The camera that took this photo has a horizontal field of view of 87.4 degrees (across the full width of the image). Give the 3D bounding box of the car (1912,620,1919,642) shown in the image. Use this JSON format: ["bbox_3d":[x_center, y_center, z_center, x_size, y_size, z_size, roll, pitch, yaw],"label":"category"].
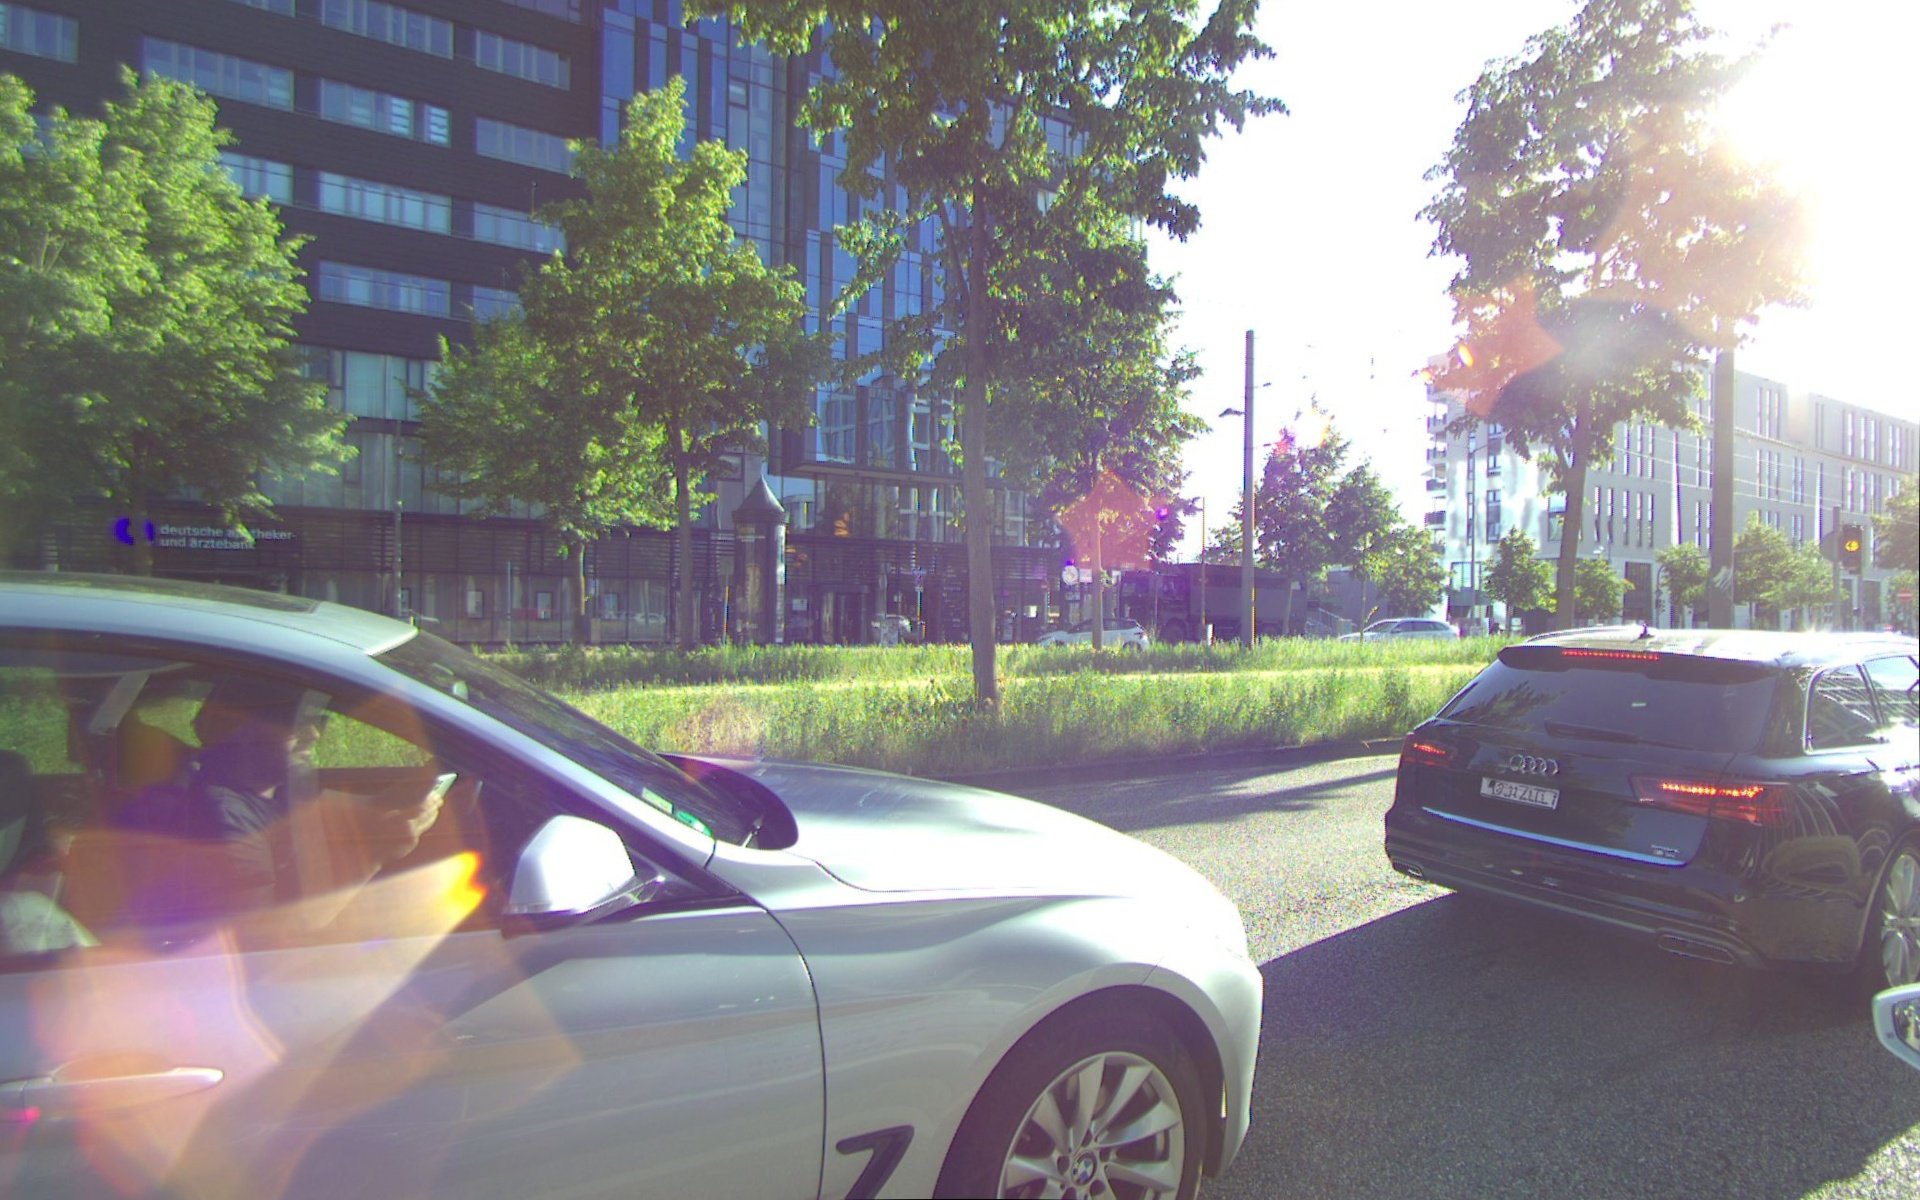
[{"bbox_3d":[90.290,2.872,93.130,3.953,2.040,1.984,1,-1,-30],"label":"car"}]

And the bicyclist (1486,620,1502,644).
[{"bbox_3d":[32.544,1.937,61.208,0.811,1.443,0.475,1,-1,-30],"label":"bicyclist"}]

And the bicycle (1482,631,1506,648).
[{"bbox_3d":[32.524,2.397,61.189,1.735,1.049,0.475,1,-1,-31],"label":"bicycle"}]

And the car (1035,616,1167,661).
[{"bbox_3d":[4.923,1.322,35.290,4.476,1.467,1.806,1,-1,7],"label":"car"}]

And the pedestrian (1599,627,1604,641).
[{"bbox_3d":[50.842,2.724,79.620,0.257,1.100,0.252,1,0,-30],"label":"pedestrian"}]

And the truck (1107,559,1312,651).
[{"bbox_3d":[11.691,0.299,46.484,10.094,3.904,2.877,1,-1,-31],"label":"truck"}]

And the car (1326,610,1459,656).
[{"bbox_3d":[15.151,1.150,35.257,4.139,1.512,1.517,1,-1,-9],"label":"car"}]

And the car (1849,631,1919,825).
[{"bbox_3d":[9.294,1.008,8.190,4.288,1.445,1.833,1,-1,-30],"label":"car"}]

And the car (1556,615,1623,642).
[{"bbox_3d":[37.526,1.683,59.891,3.953,1.540,1.756,1,-1,-30],"label":"car"}]

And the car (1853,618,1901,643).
[{"bbox_3d":[78.091,2.587,85.514,3.953,2.040,1.984,1,-1,-30],"label":"car"}]

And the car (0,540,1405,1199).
[{"bbox_3d":[-1.310,0.694,2.037,4.509,1.504,1.810,1,-1,-31],"label":"car"}]

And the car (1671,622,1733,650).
[{"bbox_3d":[51.465,2.509,69.667,4.319,1.838,1.984,1,-1,-30],"label":"car"}]

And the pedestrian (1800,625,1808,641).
[{"bbox_3d":[80.248,3.131,95.492,0.455,1.457,0.388,1,0,27],"label":"pedestrian"}]

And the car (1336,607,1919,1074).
[{"bbox_3d":[4.386,0.832,5.344,4.911,1.504,1.864,1,-1,-32],"label":"car"}]
